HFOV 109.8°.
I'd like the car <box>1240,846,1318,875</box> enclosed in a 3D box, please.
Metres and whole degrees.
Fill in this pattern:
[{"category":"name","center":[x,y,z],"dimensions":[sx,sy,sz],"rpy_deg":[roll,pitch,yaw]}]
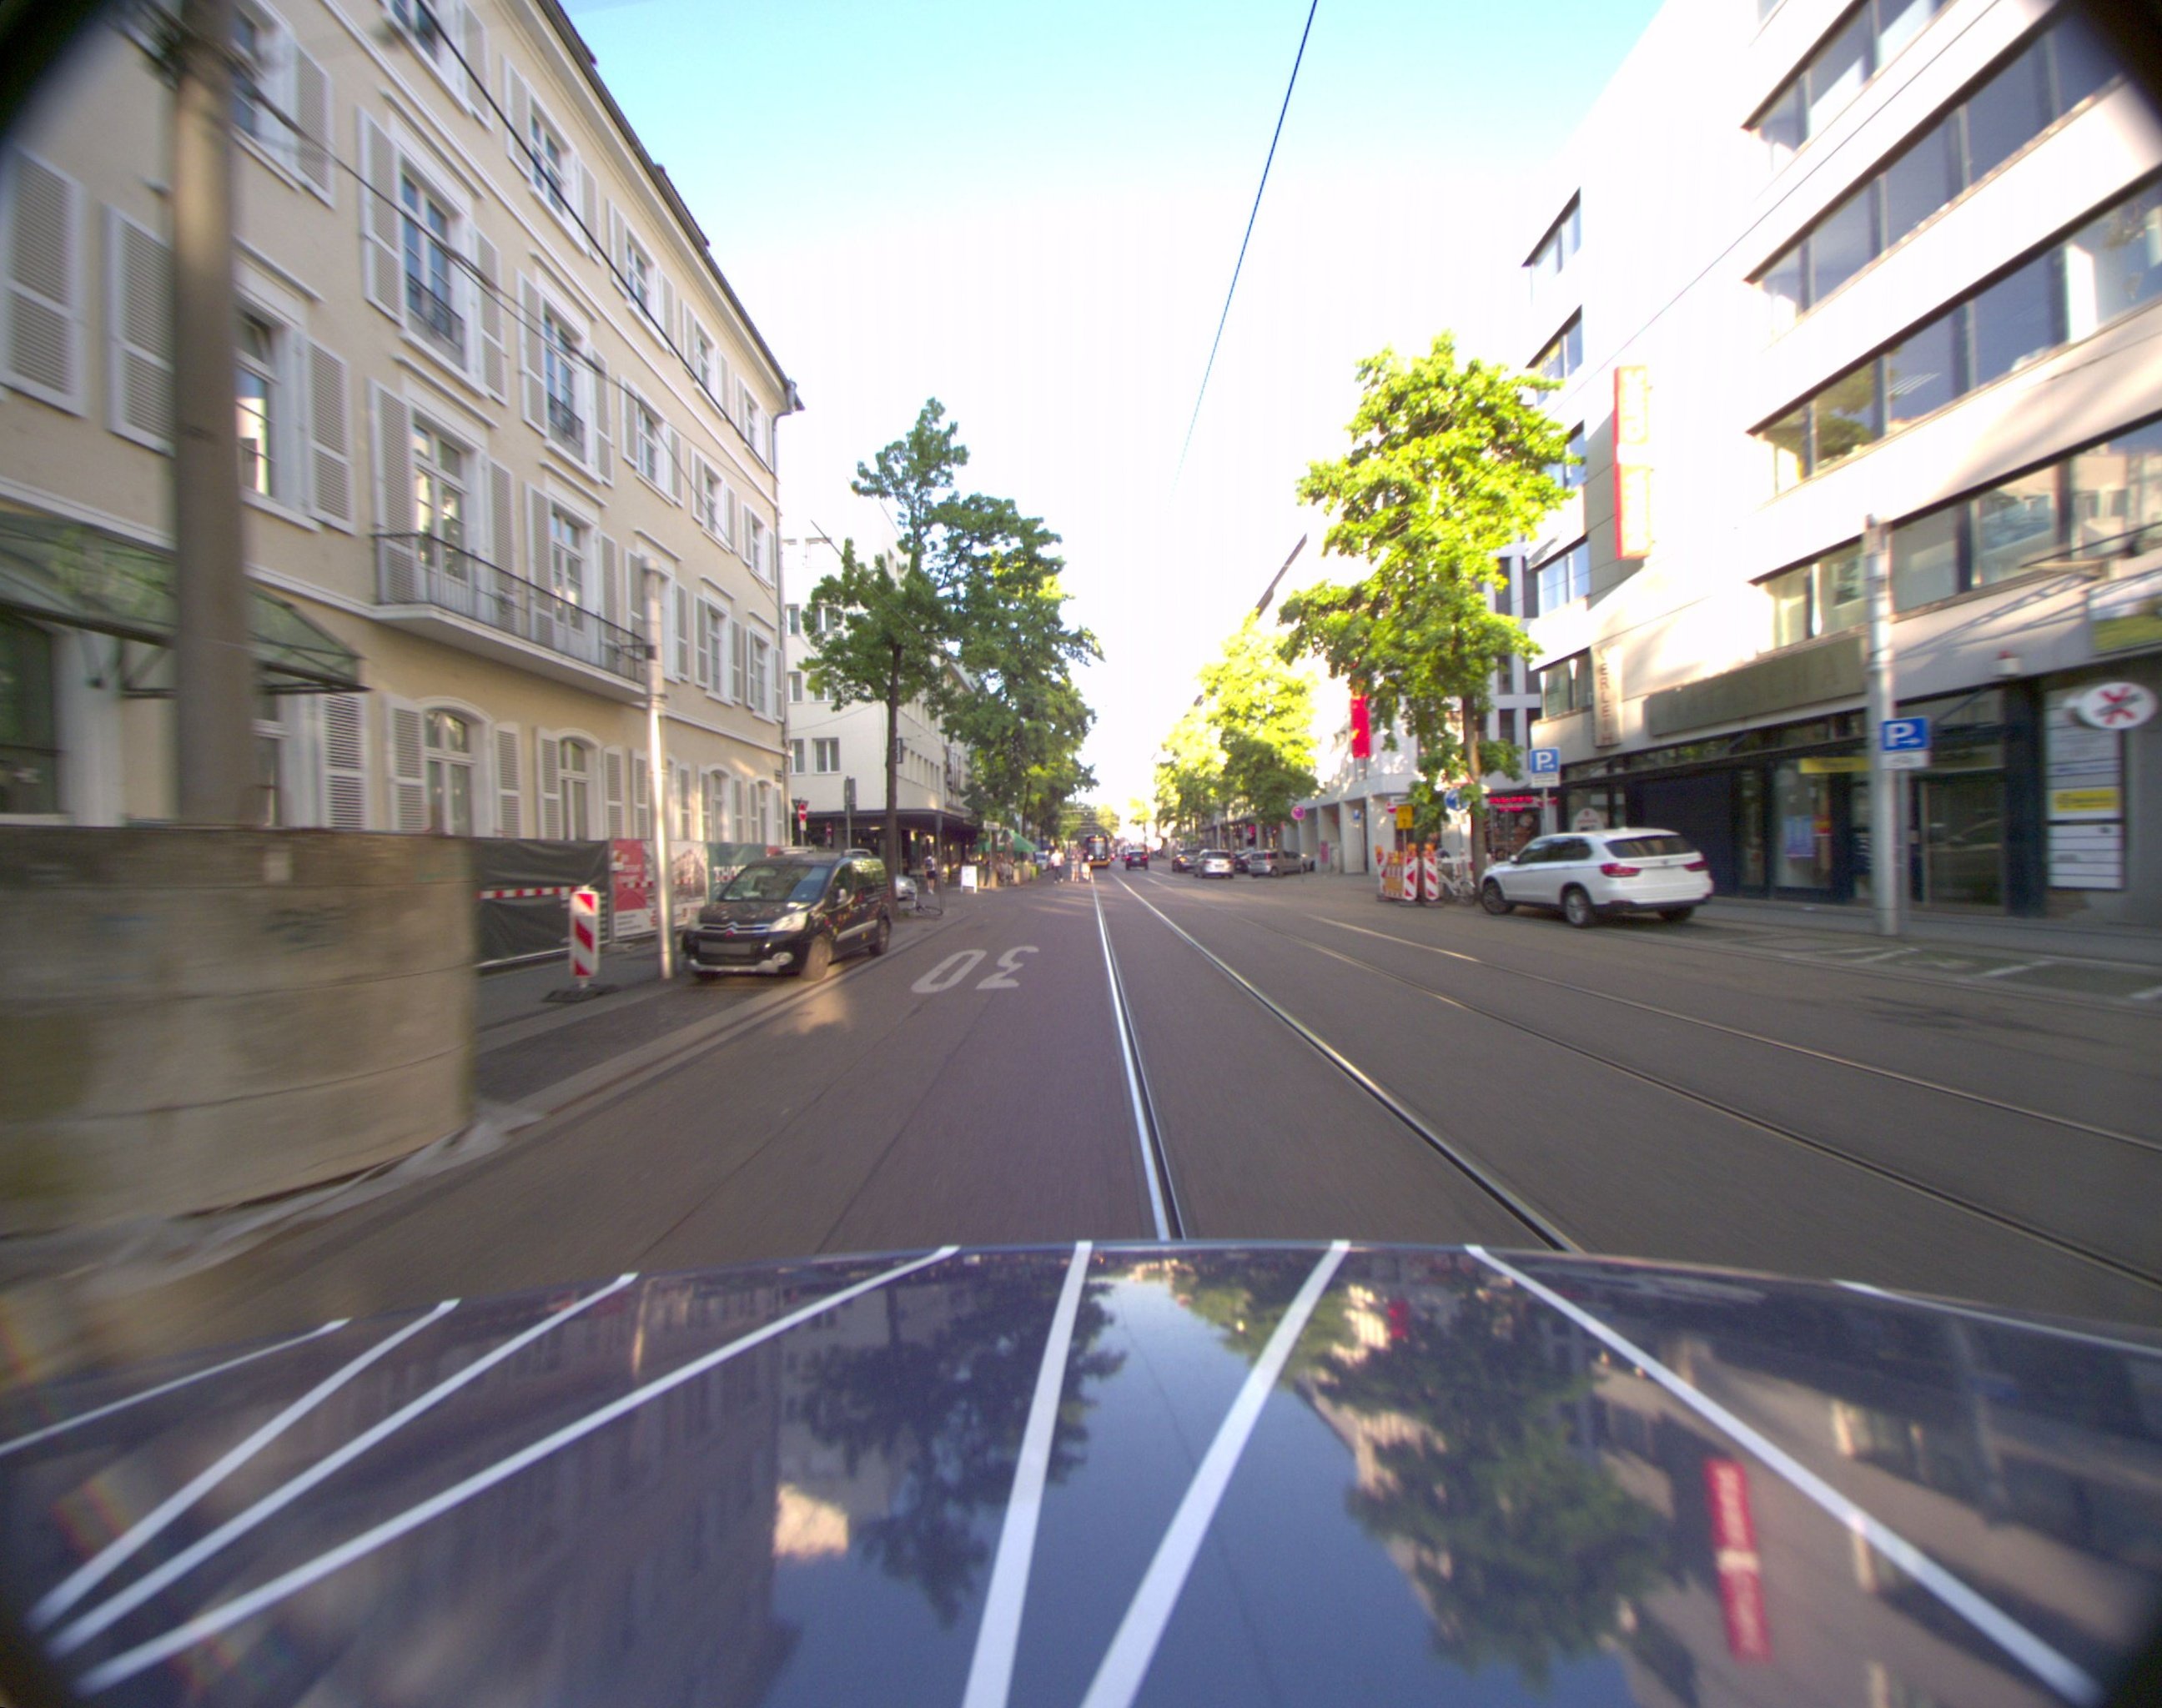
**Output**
[{"category":"car","center":[11.922,0.375,45.807],"dimensions":[4.320,1.404,1.576],"rpy_deg":[-5,2,-17]}]

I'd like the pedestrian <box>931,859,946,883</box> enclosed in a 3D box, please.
[{"category":"pedestrian","center":[-7.951,0.957,42.417],"dimensions":[0.716,1.321,0.624],"rpy_deg":[-2,1,2]}]

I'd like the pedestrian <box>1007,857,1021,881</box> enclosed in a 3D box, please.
[{"category":"pedestrian","center":[-3.875,0.871,43.883],"dimensions":[0.716,1.321,0.624],"rpy_deg":[-2,1,2]}]

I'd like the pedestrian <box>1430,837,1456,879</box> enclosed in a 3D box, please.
[{"category":"pedestrian","center":[14.425,0.141,30.296],"dimensions":[0.725,1.636,0.611],"rpy_deg":[-2,1,2]}]

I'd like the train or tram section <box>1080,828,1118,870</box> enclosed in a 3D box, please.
[{"category":"train or tram section","center":[1.875,-0.481,82.777],"dimensions":[3.607,3.974,15.715],"rpy_deg":[-2,0,1]}]

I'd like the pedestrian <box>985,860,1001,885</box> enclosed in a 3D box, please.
[{"category":"pedestrian","center":[-4.733,1.000,40.834],"dimensions":[0.716,1.321,0.624],"rpy_deg":[-2,1,2]}]

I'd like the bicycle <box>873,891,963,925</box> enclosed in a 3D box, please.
[{"category":"bicycle","center":[-4.287,1.402,20.107],"dimensions":[1.753,0.744,1.566],"rpy_deg":[0,1,18]}]

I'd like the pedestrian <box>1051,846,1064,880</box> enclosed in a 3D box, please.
[{"category":"pedestrian","center":[-1.332,0.522,43.203],"dimensions":[0.598,1.922,0.873],"rpy_deg":[-2,1,2]}]

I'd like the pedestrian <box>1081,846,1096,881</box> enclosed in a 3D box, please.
[{"category":"pedestrian","center":[0.429,0.536,42.895],"dimensions":[0.772,1.922,0.873],"rpy_deg":[-2,1,2]}]

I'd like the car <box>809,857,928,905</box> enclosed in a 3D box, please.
[{"category":"car","center":[-8.181,1.021,29.437],"dimensions":[3.937,1.600,1.867],"rpy_deg":[-2,2,7]}]

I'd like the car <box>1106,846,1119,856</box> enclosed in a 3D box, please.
[{"category":"car","center":[5.863,-0.509,143.141],"dimensions":[2.218,1.849,3.999],"rpy_deg":[-2,0,-1]}]

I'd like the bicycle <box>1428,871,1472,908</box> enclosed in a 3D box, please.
[{"category":"bicycle","center":[9.578,0.909,19.766],"dimensions":[0.503,0.832,1.535],"rpy_deg":[-4,1,6]}]

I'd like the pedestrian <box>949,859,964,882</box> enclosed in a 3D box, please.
[{"category":"pedestrian","center":[-7.417,0.989,45.317],"dimensions":[0.716,1.321,0.624],"rpy_deg":[-2,1,2]}]

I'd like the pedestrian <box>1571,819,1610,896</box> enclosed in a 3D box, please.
[{"category":"pedestrian","center":[13.530,0.092,20.191],"dimensions":[0.616,2.002,0.592],"rpy_deg":[-2,1,-1]}]

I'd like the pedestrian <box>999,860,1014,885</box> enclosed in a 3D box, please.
[{"category":"pedestrian","center":[-3.990,0.979,40.794],"dimensions":[0.716,1.321,0.624],"rpy_deg":[-2,1,2]}]

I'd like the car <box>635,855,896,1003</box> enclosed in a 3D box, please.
[{"category":"car","center":[-4.439,0.924,11.567],"dimensions":[1.956,1.782,4.316],"rpy_deg":[0,1,4]}]

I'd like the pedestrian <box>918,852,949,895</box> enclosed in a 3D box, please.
[{"category":"pedestrian","center":[-6.440,0.832,33.321],"dimensions":[0.945,1.805,1.071],"rpy_deg":[-2,3,8]}]

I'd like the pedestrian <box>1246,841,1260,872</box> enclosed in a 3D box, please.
[{"category":"pedestrian","center":[10.788,0.181,47.700],"dimensions":[0.656,1.922,0.723],"rpy_deg":[-2,1,2]}]

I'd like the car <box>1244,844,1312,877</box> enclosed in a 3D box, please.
[{"category":"car","center":[11.152,0.382,42.950],"dimensions":[3.405,1.551,1.785],"rpy_deg":[-5,2,-31]}]

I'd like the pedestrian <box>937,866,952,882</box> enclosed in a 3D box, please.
[{"category":"pedestrian","center":[-7.858,1.151,43.638],"dimensions":[0.716,0.927,0.624],"rpy_deg":[-2,0,2]}]

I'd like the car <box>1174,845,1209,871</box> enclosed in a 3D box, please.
[{"category":"car","center":[8.065,0.272,55.813],"dimensions":[2.039,1.796,4.200],"rpy_deg":[-1,0,0]}]

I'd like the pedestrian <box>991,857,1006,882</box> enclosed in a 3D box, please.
[{"category":"pedestrian","center":[-4.549,0.838,41.949],"dimensions":[0.716,1.321,0.624],"rpy_deg":[-2,1,2]}]

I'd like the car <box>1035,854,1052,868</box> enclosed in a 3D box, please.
[{"category":"car","center":[-3.868,0.717,79.079],"dimensions":[1.715,1.318,3.593],"rpy_deg":[-2,0,-2]}]

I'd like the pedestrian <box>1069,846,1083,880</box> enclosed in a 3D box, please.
[{"category":"pedestrian","center":[-0.296,0.492,43.271],"dimensions":[0.672,1.922,0.873],"rpy_deg":[-2,1,2]}]

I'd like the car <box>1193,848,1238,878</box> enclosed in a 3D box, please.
[{"category":"car","center":[7.598,0.474,43.328],"dimensions":[1.889,1.602,4.200],"rpy_deg":[0,0,0]}]

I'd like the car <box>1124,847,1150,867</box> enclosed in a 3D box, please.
[{"category":"car","center":[4.903,0.274,67.063],"dimensions":[2.039,1.677,4.200],"rpy_deg":[-2,0,0]}]

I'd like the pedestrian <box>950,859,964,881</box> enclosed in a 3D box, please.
[{"category":"pedestrian","center":[-7.723,0.998,47.481],"dimensions":[0.716,1.321,0.624],"rpy_deg":[-2,1,2]}]

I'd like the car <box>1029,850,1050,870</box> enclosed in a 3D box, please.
[{"category":"car","center":[-3.997,0.529,73.636],"dimensions":[2.003,1.831,4.966],"rpy_deg":[0,1,-2]}]

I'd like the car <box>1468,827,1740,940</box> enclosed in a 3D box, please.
[{"category":"car","center":[9.879,0.487,14.953],"dimensions":[1.998,1.744,4.744],"rpy_deg":[-4,0,0]}]

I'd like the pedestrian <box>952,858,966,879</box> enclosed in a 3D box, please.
[{"category":"pedestrian","center":[-7.775,0.941,48.435],"dimensions":[0.716,1.321,0.624],"rpy_deg":[-2,1,2]}]
